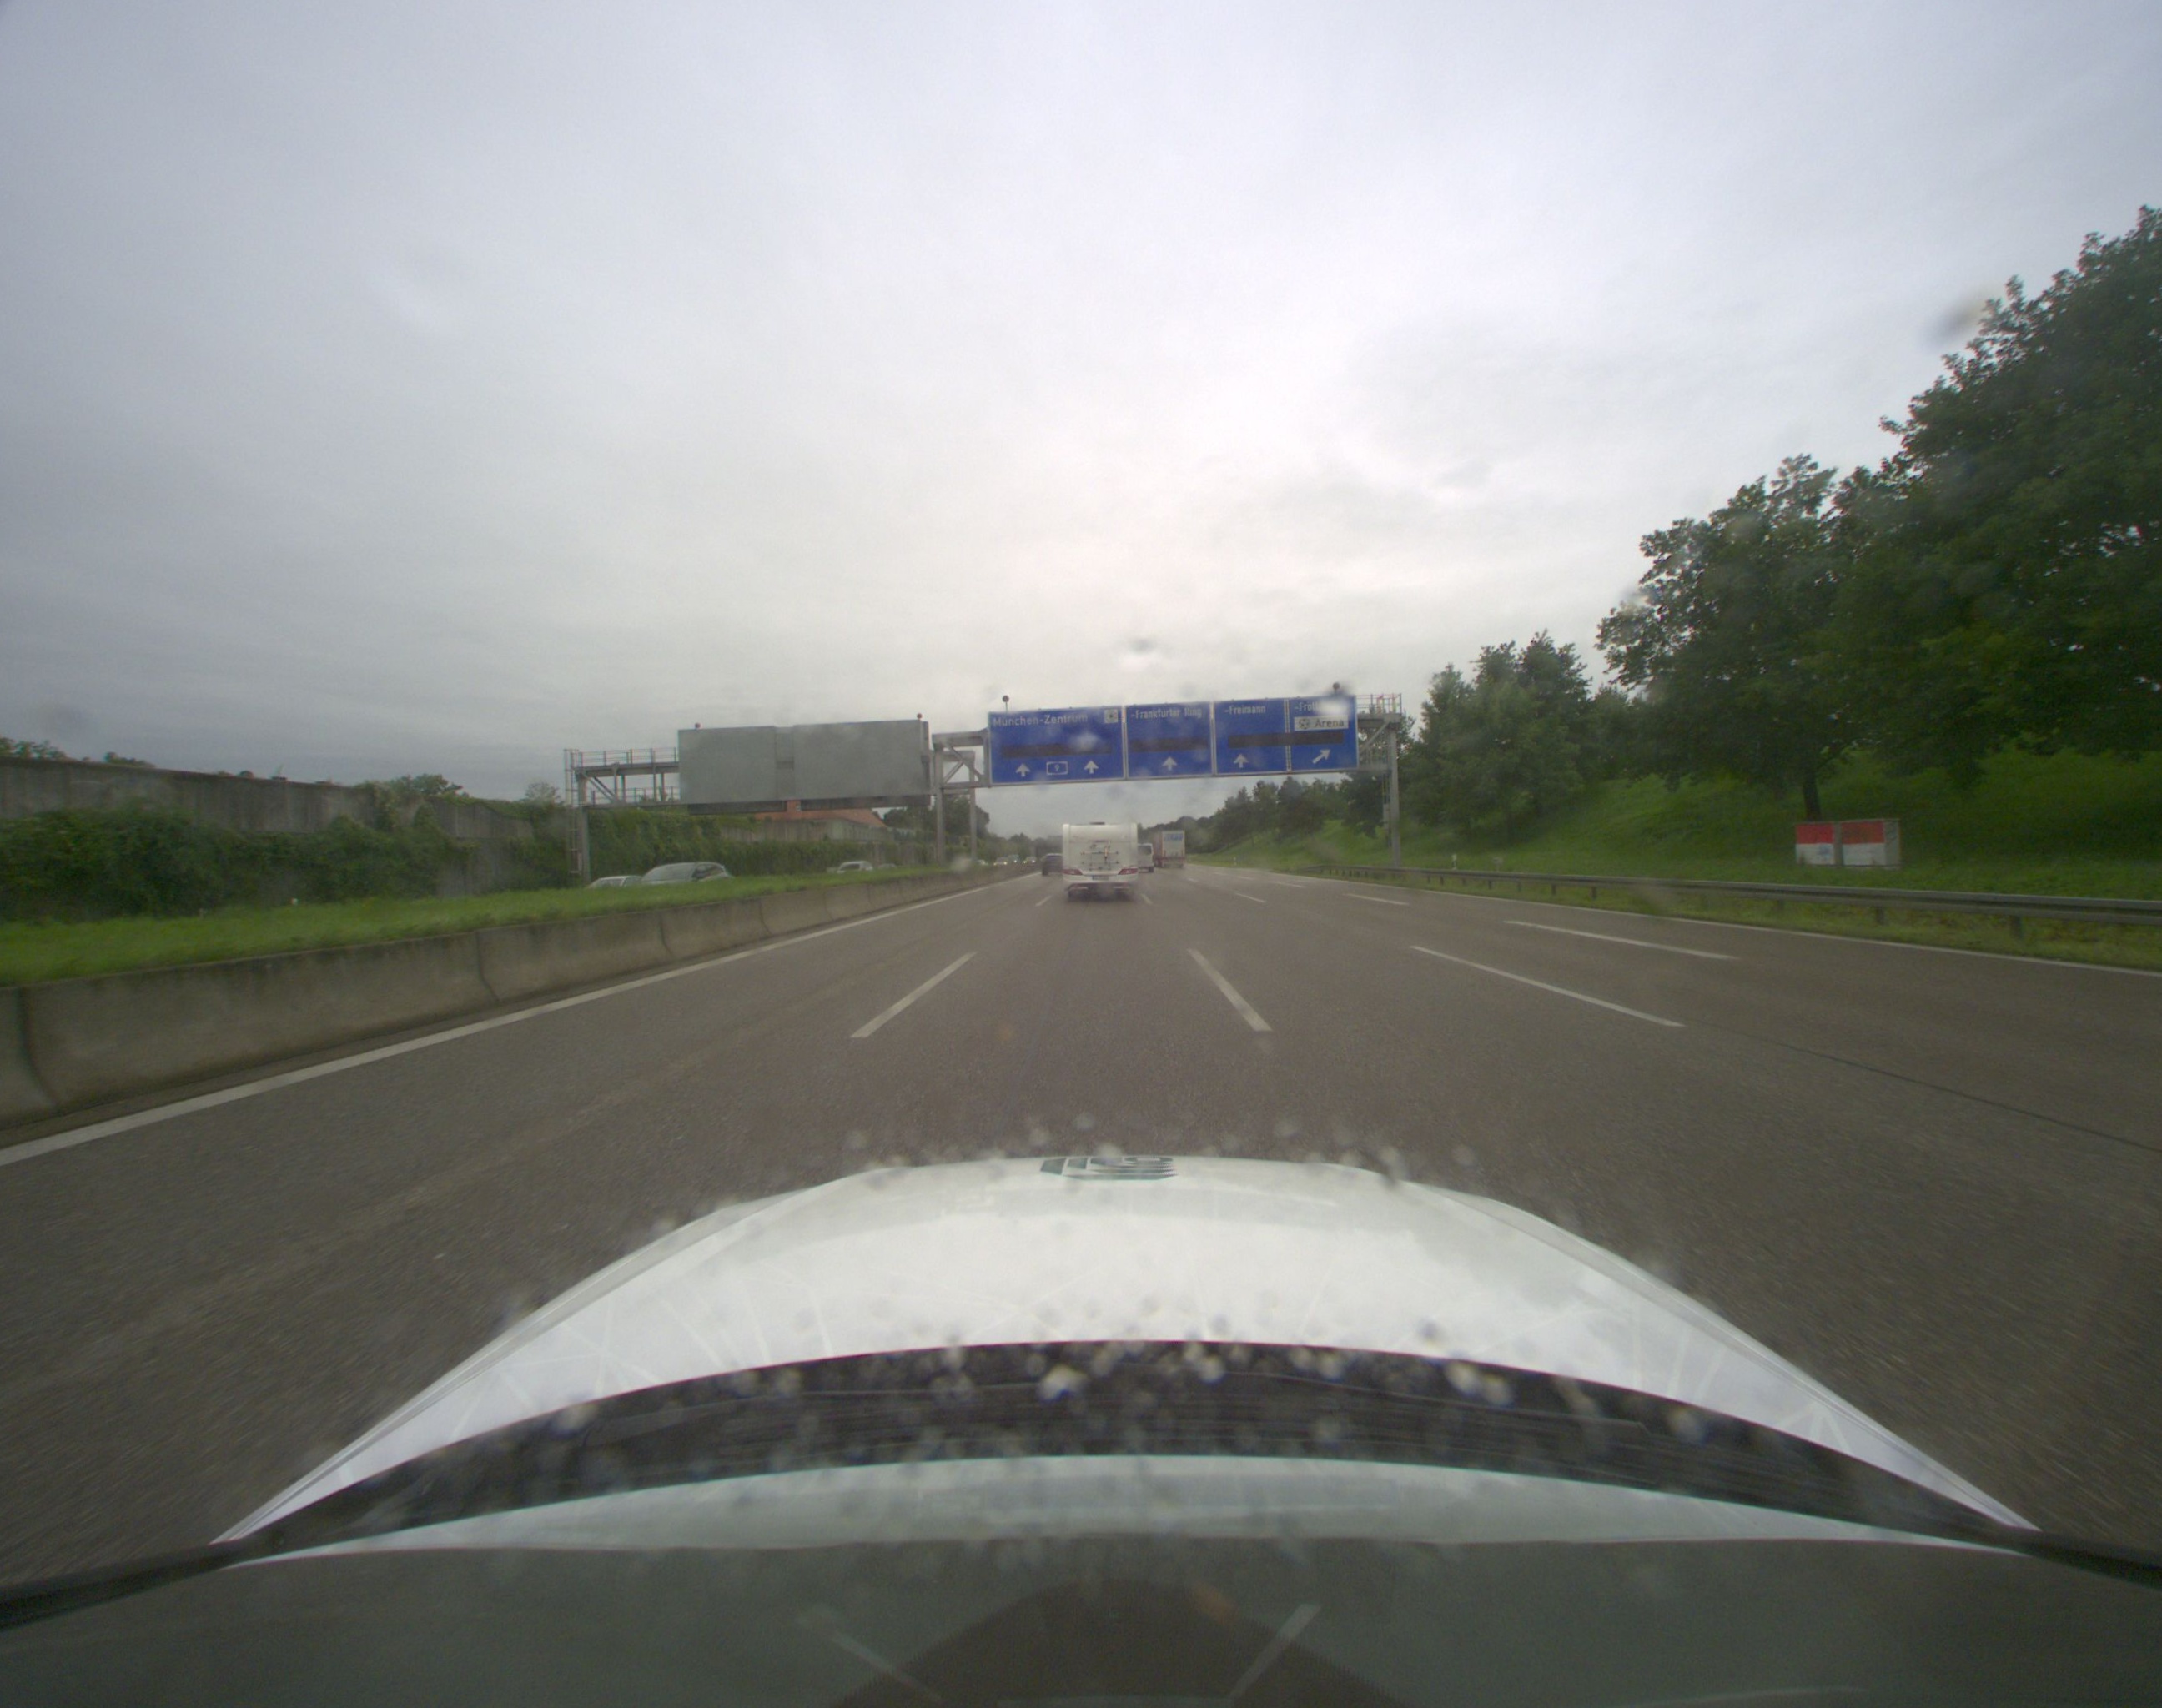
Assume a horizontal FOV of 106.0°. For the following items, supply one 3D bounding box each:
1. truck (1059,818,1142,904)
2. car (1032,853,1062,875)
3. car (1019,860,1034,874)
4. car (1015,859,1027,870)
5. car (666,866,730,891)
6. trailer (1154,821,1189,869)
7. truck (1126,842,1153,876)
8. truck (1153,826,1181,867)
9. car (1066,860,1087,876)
[{"bbox_3d":[0.693,0.246,28.638,2.651,2.742,5.078,0,0,1],"label":"truck"},{"bbox_3d":[-2.560,0.759,62.788,1.986,1.600,5.124,0,0,1],"label":"car"},{"bbox_3d":[-8.484,2.004,126.928,1.847,2.014,3.853,0,0,2],"label":"car"},{"bbox_3d":[-10.564,1.852,143.181,1.703,2.014,3.599,0,0,2],"label":"car"},{"bbox_3d":[-18.473,1.146,39.423,1.600,1.096,3.273,-1,0,-1],"label":"car"},{"bbox_3d":[10.006,-0.891,90.792,3.087,4.922,11.798,0,0,3],"label":"trailer"},{"bbox_3d":[4.903,0.440,68.870,2.046,2.770,5.550,0,0,1],"label":"truck"},{"bbox_3d":[10.324,-0.864,98.245,3.037,4.839,5.852,0,-1,2],"label":"truck"},{"bbox_3d":[-0.487,1.543,89.912,2.120,1.706,4.113,1,-1,1],"label":"car"}]
